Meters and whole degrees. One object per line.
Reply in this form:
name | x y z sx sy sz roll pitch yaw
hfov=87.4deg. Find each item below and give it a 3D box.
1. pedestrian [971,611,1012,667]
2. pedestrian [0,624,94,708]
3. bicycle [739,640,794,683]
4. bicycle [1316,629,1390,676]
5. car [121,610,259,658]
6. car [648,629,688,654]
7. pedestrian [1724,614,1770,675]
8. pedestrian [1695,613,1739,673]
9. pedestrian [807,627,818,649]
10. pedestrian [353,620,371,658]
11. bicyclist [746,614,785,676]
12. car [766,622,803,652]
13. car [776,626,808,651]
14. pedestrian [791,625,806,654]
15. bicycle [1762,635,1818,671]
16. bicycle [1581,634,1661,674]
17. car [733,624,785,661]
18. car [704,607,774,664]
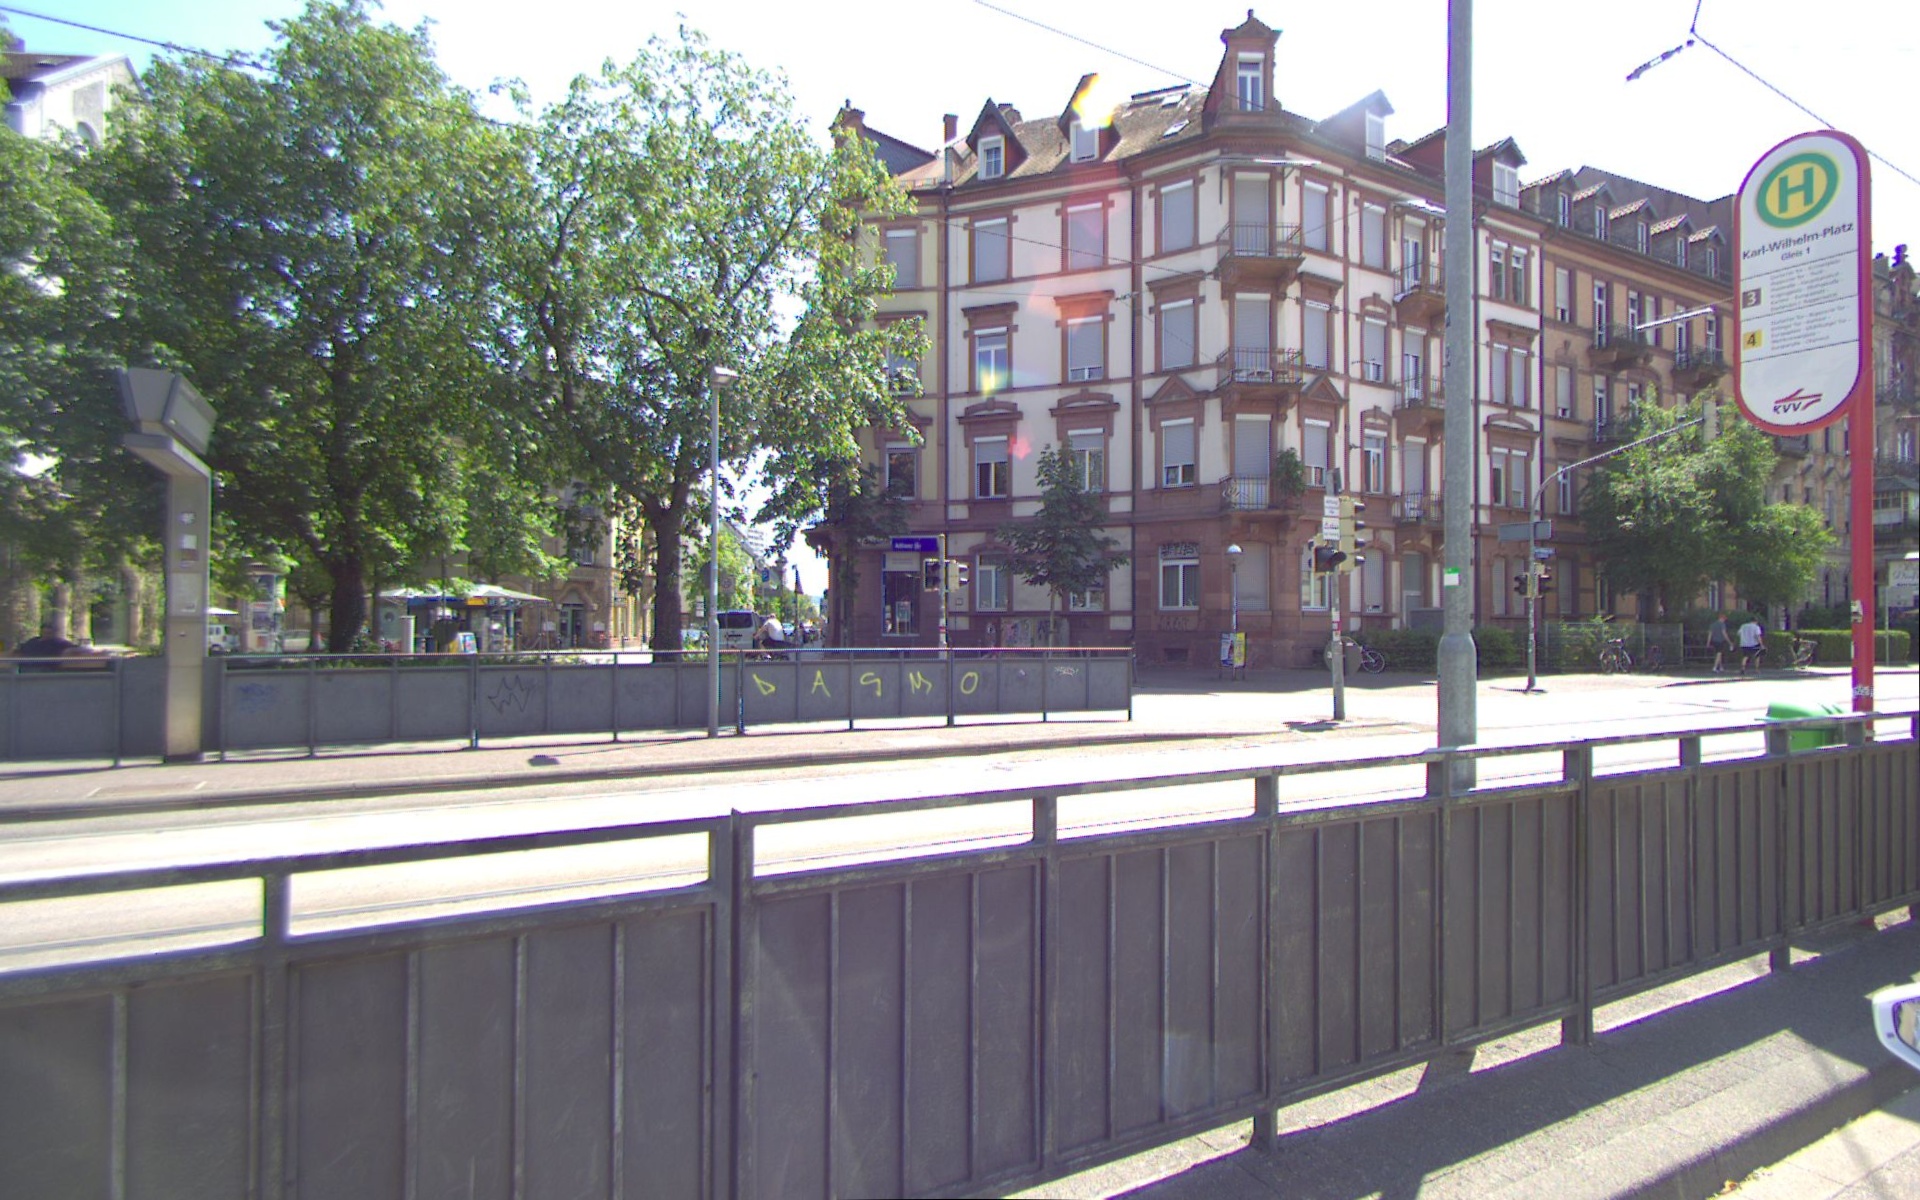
pedestrian | 0.963 1.192 31.061 1.045 1.712 0.720 -1 -2 36
pedestrian | -14.658 1.044 16.112 0.925 1.261 0.860 2 0 -24
bicycle | -5.195 1.631 26.900 0.694 1.070 1.746 2 -1 -39
bicycle | 11.668 1.558 29.869 1.923 1.312 0.564 2 0 11
car | -31.186 1.368 40.823 3.932 1.814 1.994 2 0 -14
car | -20.655 2.918 71.170 1.846 1.617 3.998 2 0 -4
pedestrian | 24.458 1.355 31.229 0.862 1.847 0.813 0 1 -27
pedestrian | 24.027 1.351 31.880 0.862 1.847 0.813 0 1 -27
pedestrian | -11.393 2.923 77.546 0.742 1.632 0.688 0 -1 -4
pedestrian | -26.904 1.744 45.215 0.506 1.692 0.491 0 -1 -8
bicyclist | -5.220 1.188 26.918 0.694 1.613 0.840 2 -1 -39
car | -10.369 2.177 59.460 1.684 1.617 3.998 2 0 -4
car | -12.479 2.844 74.764 1.962 1.617 3.998 2 0 -4
pedestrian | -9.277 2.249 57.656 0.790 1.632 0.731 0 -1 -4
bicycle | 28.524 1.802 34.496 2.750 1.151 0.930 2 0 -39
bicycle | 20.231 1.645 30.722 2.742 1.151 0.932 2 0 -31
car | -9.622 2.011 48.295 1.893 1.541 3.998 2 0 -4
car | -8.325 1.299 38.223 1.962 1.970 3.998 2 0 -4
